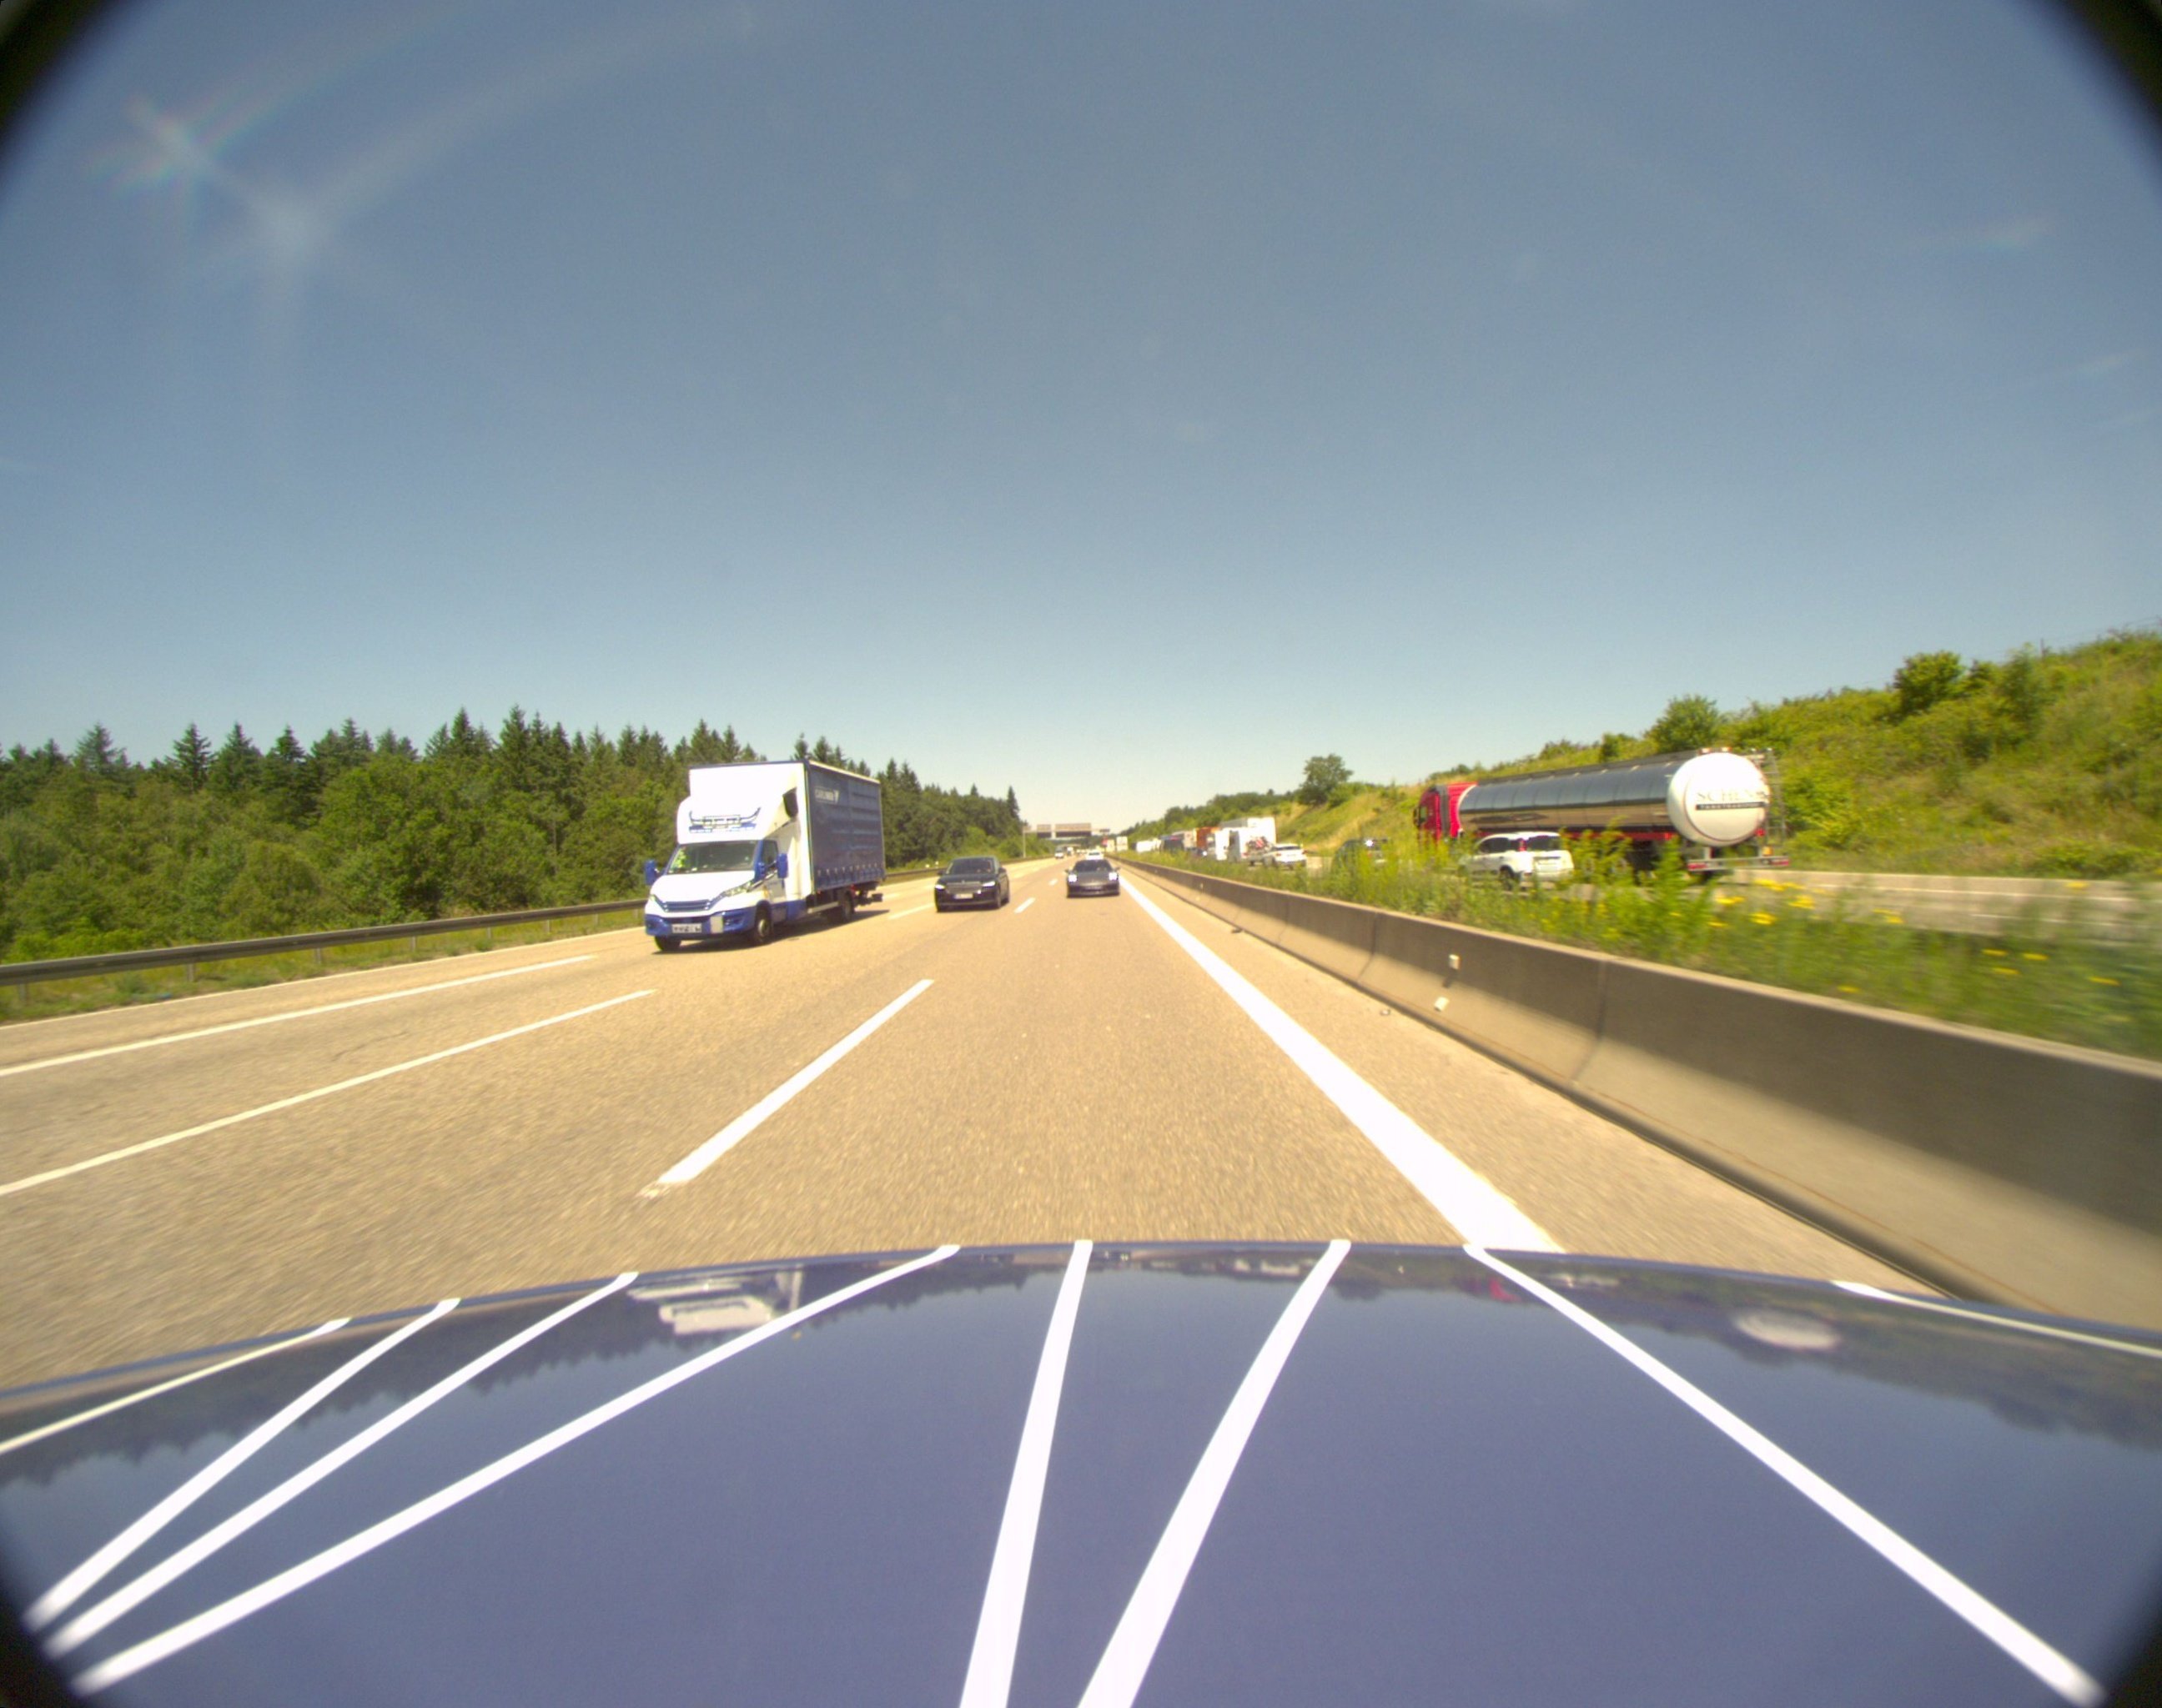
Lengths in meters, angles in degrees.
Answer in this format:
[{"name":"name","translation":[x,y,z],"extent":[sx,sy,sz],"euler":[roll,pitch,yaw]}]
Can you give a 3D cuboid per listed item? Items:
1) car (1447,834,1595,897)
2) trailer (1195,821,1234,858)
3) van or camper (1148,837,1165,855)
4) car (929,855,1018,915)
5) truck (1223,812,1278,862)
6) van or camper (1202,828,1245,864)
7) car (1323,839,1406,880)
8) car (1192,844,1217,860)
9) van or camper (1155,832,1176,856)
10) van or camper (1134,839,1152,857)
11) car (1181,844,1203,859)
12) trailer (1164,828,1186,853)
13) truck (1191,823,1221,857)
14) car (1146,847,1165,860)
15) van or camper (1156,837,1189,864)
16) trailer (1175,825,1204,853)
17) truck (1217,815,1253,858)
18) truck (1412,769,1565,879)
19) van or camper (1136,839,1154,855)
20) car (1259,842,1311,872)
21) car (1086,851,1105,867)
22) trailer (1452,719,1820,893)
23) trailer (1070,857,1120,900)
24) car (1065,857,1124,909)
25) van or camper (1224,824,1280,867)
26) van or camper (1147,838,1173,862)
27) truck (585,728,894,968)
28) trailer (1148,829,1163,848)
[{"name":"car","translation":[12.127,0.271,21.283],"extent":[1.758,1.541,4.189],"euler":[-1,1,1]},{"name":"trailer","translation":[16.598,-1.776,95.160],"extent":[2.618,4.285,11.999],"euler":[-3,1,0]},{"name":"van or camper","translation":[12.989,-1.343,130.778],"extent":[2.156,2.906,7.223],"euler":[-3,1,1]},{"name":"car","translation":[-3.244,0.922,23.901],"extent":[1.989,1.609,4.458],"euler":[-3,-1,1]},{"name":"truck","translation":[16.248,-1.544,73.752],"extent":[2.527,4.301,12.420],"euler":[-3,1,1]},{"name":"van or camper","translation":[12.659,-0.757,67.987],"extent":[2.551,2.920,7.827],"euler":[-2,1,2]},{"name":"car","translation":[12.002,0.198,32.517],"extent":[1.758,1.574,4.784],"euler":[-2,1,1]},{"name":"car","translation":[12.739,-0.228,78.779],"extent":[1.823,1.578,4.882],"euler":[-2,1,0]},{"name":"van or camper","translation":[12.792,-1.544,115.504],"extent":[2.318,3.370,7.679],"euler":[-2,1,0]},{"name":"van or camper","translation":[9.246,-0.901,113.559],"extent":[2.198,2.526,6.415],"euler":[-2,1,0]},{"name":"car","translation":[12.681,-0.303,87.120],"extent":[1.823,1.578,4.882],"euler":[-2,1,0]},{"name":"trailer","translation":[17.327,-2.466,140.846],"extent":[2.796,4.216,10.791],"euler":[-3,1,1]},{"name":"truck","translation":[16.616,-1.840,101.802],"extent":[2.596,4.301,7.292],"euler":[-3,1,0]},{"name":"car","translation":[8.995,-0.080,91.845],"extent":[1.823,1.400,4.882],"euler":[-2,1,0]},{"name":"van or camper","translation":[8.751,-0.348,73.387],"extent":[2.303,2.421,7.283],"euler":[-2,1,0]},{"name":"trailer","translation":[16.846,-2.334,119.203],"extent":[2.787,4.010,12.249],"euler":[-3,1,1]},{"name":"truck","translation":[16.374,-1.798,81.184],"extent":[2.527,4.301,5.665],"euler":[-3,1,1]},{"name":"truck","translation":[16.014,-1.125,30.428],"extent":[2.790,3.801,6.031],"euler":[-3,1,1]},{"name":"van or camper","translation":[12.514,-1.311,148.932],"extent":[2.848,2.931,8.112],"euler":[-3,1,1]},{"name":"car","translation":[11.829,0.137,44.429],"extent":[1.886,1.618,4.358],"euler":[-2,1,1]},{"name":"car","translation":[1.449,0.482,77.374],"extent":[1.719,1.432,4.456],"euler":[-2,1,-1]},{"name":"trailer","translation":[15.915,-1.151,23.819],"extent":[2.686,3.927,12.275],"euler":[-2,0,1]},{"name":"trailer","translation":[0.518,0.847,27.795],"extent":[1.689,1.399,3.046],"euler":[-2,0,1]},{"name":"car","translation":[0.453,0.869,24.540],"extent":[1.718,1.432,4.457],"euler":[-1,1,1]},{"name":"van or camper","translation":[12.623,-0.634,56.643],"extent":[2.551,2.920,8.131],"euler":[-2,1,2]},{"name":"van or camper","translation":[8.710,-0.459,83.972],"extent":[2.198,2.491,6.057],"euler":[-2,1,0]},{"name":"truck","translation":[-7.254,-0.159,18.367],"extent":[2.790,4.104,9.738],"euler":[-3,1,0]},{"name":"trailer","translation":[17.274,-3.599,176.686],"extent":[2.788,4.280,11.710],"euler":[-2,1,3]}]
